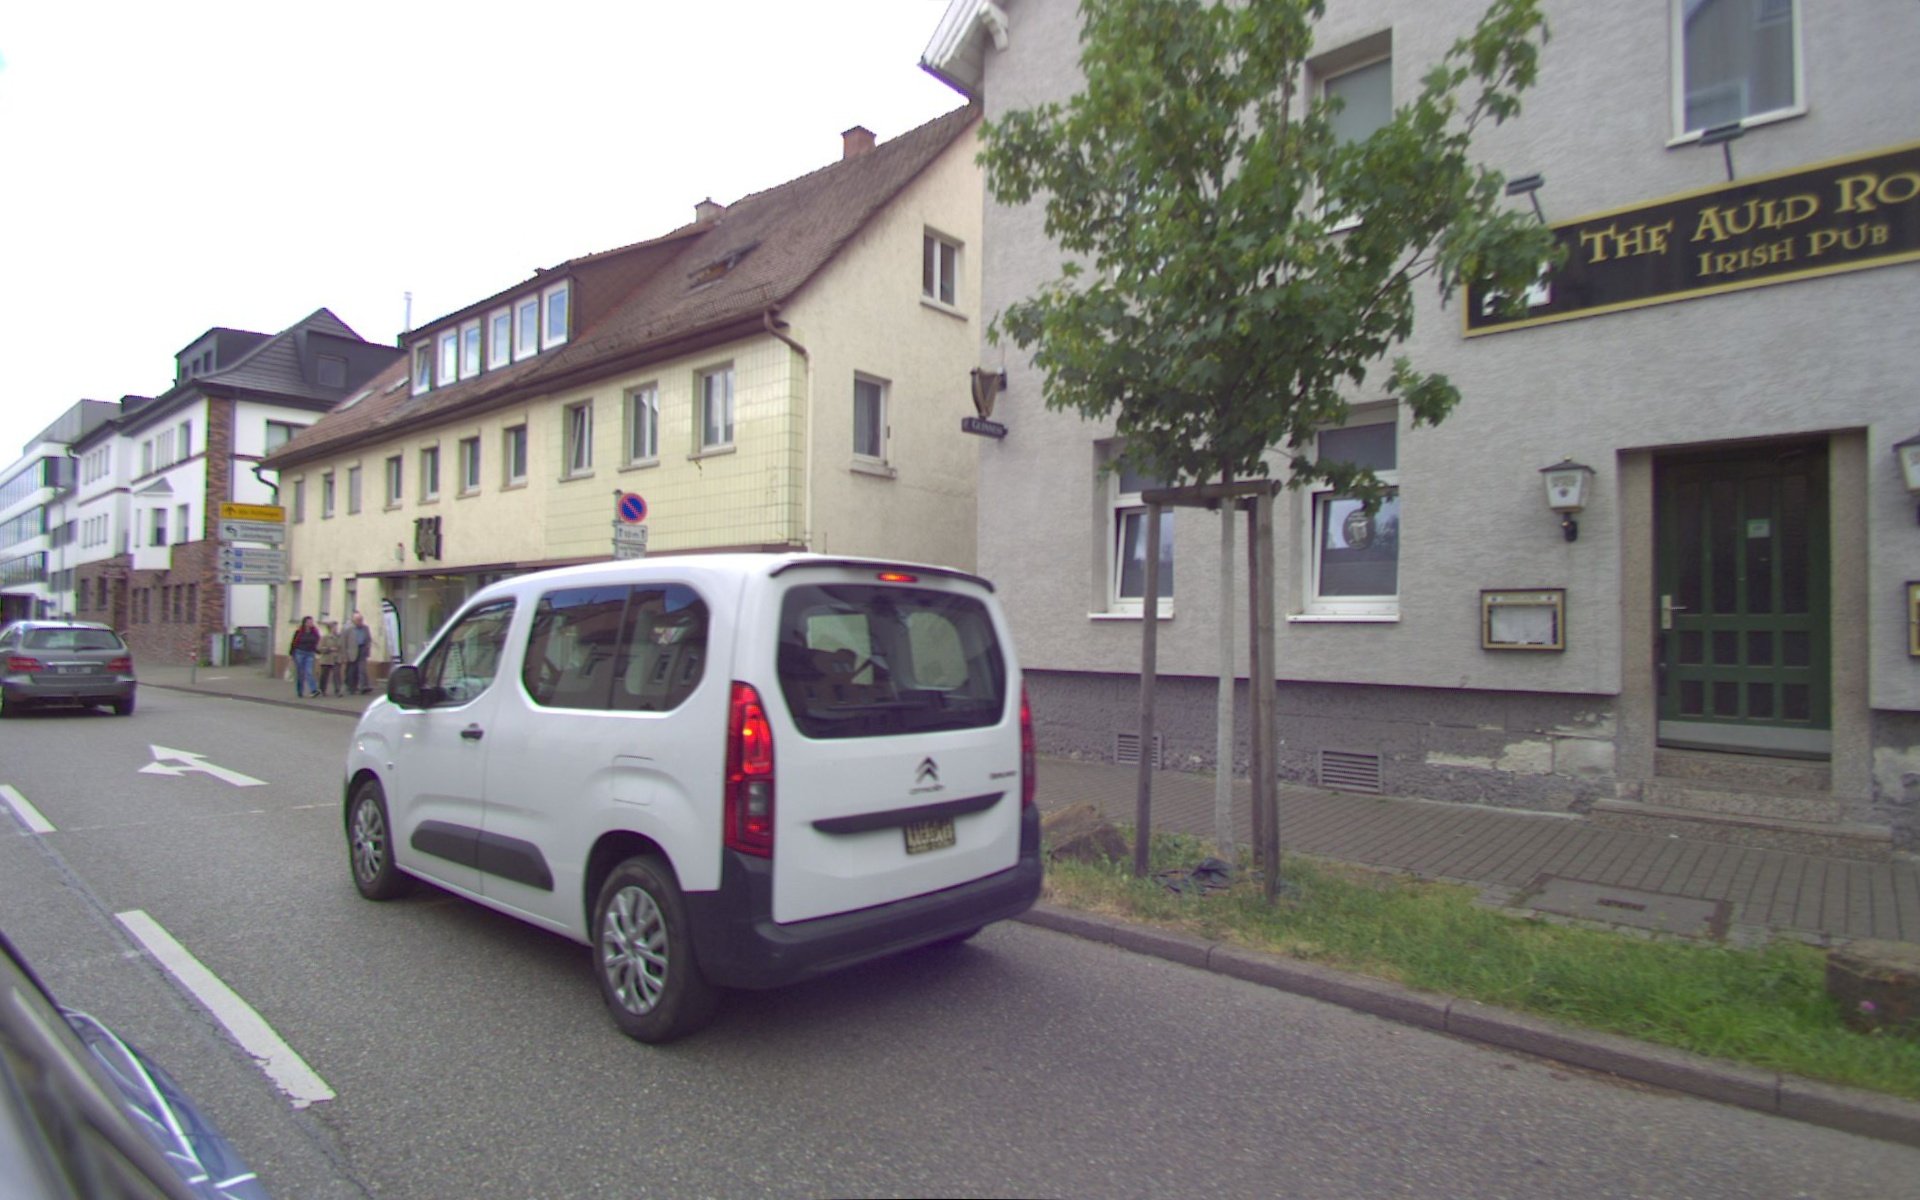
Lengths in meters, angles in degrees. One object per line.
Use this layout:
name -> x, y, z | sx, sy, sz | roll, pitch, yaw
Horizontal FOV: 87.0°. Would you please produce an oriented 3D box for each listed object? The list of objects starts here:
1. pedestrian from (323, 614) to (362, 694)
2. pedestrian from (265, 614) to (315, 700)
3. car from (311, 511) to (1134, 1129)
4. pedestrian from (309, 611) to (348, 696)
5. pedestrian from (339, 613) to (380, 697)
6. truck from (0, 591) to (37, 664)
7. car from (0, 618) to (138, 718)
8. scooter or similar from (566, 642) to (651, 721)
pedestrian -> -13.672, 1.183, 22.417 | 0.648, 1.750, 0.547 | -2, -3, 42
pedestrian -> -13.944, 1.176, 21.073 | 0.717, 1.750, 0.670 | -2, -3, 41
car -> -1.473, 0.705, 5.155 | 4.276, 1.810, 1.972 | -1, -3, 42
pedestrian -> -13.287, 1.113, 21.294 | 0.648, 1.750, 0.491 | -2, -3, 42
pedestrian -> -12.831, 1.166, 21.633 | 0.648, 1.750, 0.547 | -2, -3, 42
truck -> -42.123, 1.183, 43.914 | 5.962, 2.993, 2.436 | -1, -1, 41
car -> -15.982, 1.135, 17.703 | 4.073, 1.564, 1.761 | -1, -4, 41
scooter or similar -> -5.667, 1.277, 16.271 | 1.721, 1.179, 0.522 | -1, -1, 42
